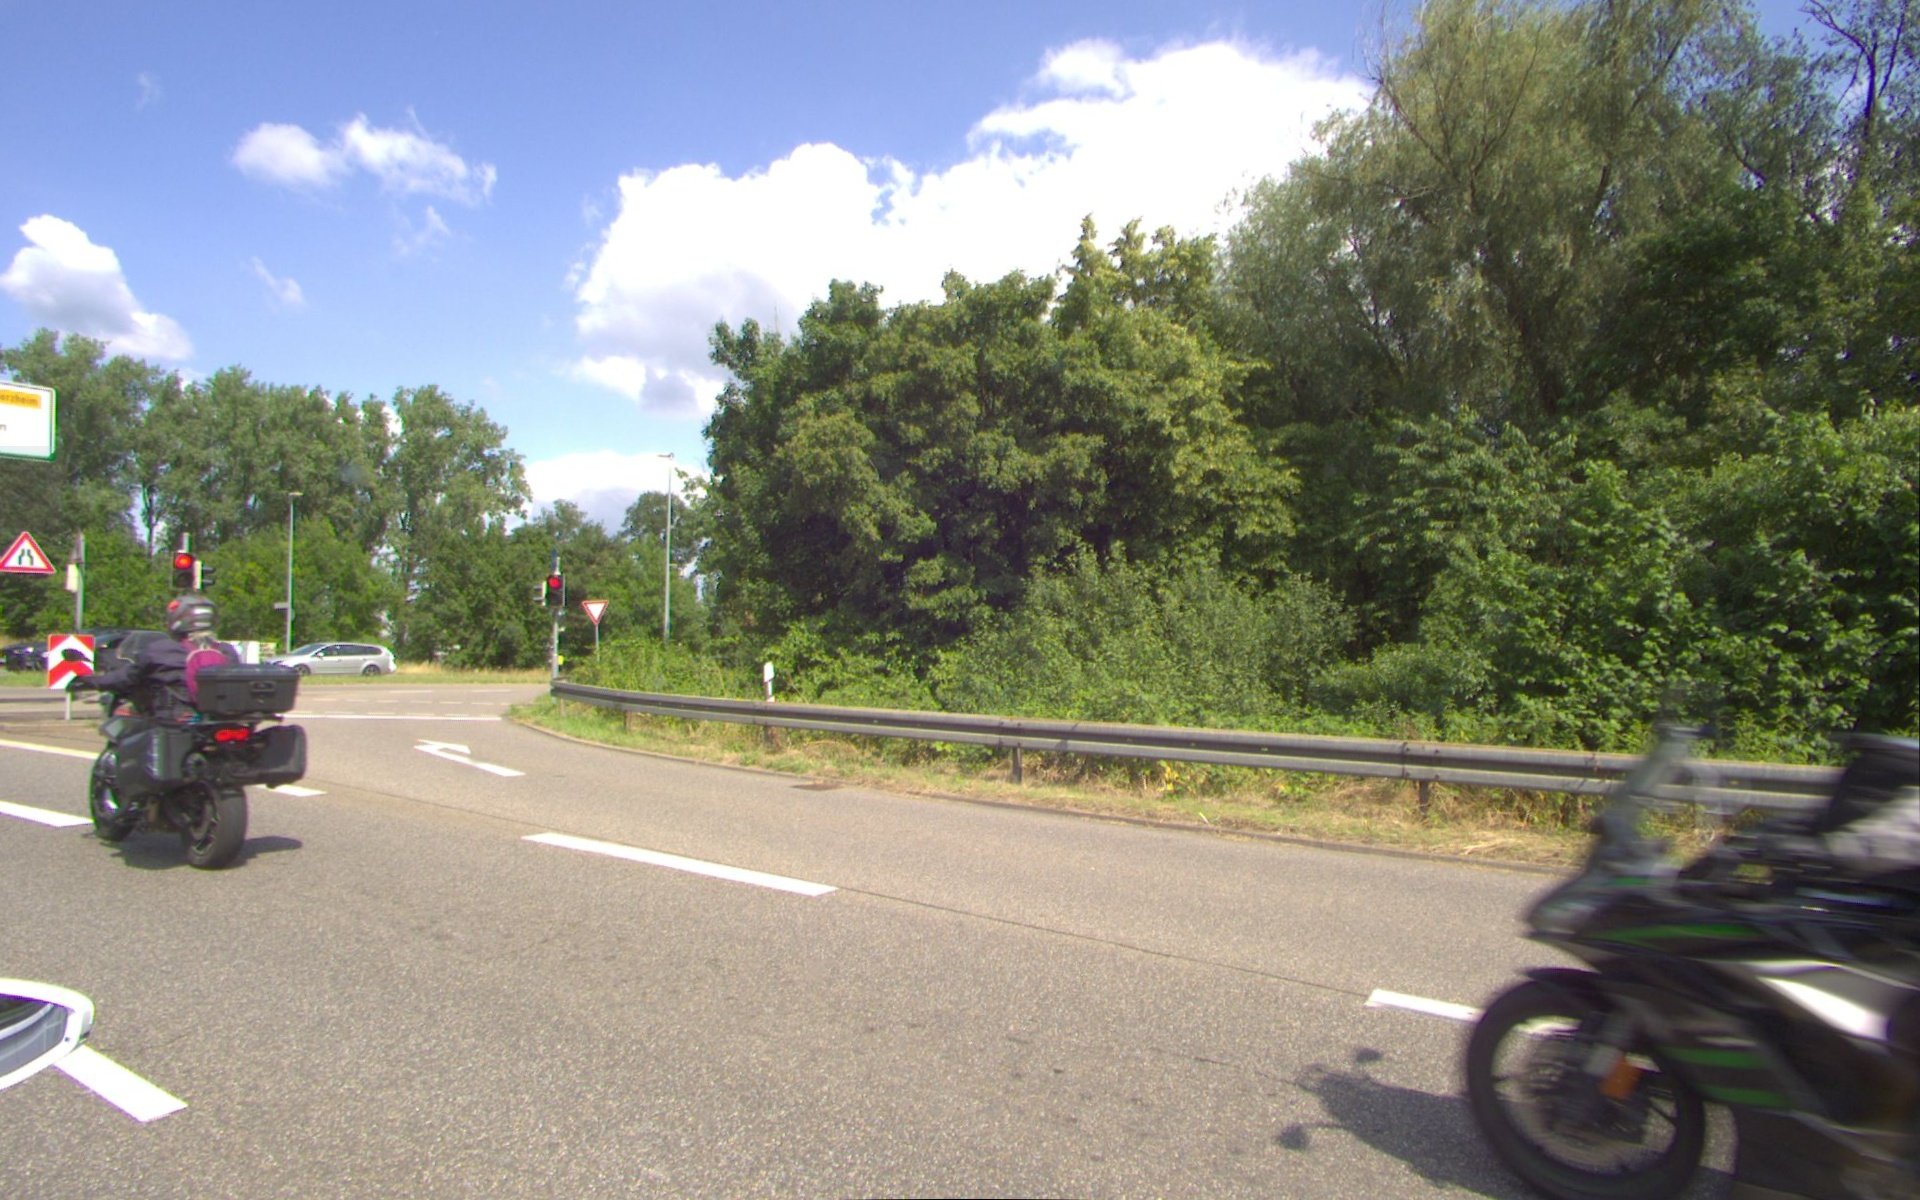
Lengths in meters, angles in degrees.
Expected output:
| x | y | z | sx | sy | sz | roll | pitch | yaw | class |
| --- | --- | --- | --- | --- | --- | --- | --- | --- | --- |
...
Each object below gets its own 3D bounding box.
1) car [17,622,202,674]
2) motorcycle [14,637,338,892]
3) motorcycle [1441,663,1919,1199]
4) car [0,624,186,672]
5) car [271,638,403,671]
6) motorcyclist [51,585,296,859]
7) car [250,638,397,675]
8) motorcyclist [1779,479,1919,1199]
| x | y | z | sx | sy | sz | roll | pitch | yaw | class |
| --- | --- | --- | --- | --- | --- | --- | --- | --- | --- |
| -27.553 | 1.558 | 32.590 | 1.711 | 1.564 | 4.264 | 0 | -3 | 31 | car |
| -5.217 | 0.958 | 6.618 | 2.336 | 1.401 | 0.935 | -1 | -2 | 32 | motorcycle |
| 2.314 | 0.872 | 2.028 | 2.336 | 1.406 | 0.864 | 0 | -2 | 32 | motorcycle |
| -30.425 | 1.689 | 35.157 | 1.711 | 1.564 | 4.842 | 0 | -3 | 31 | car |
| -26.273 | 2.282 | 42.391 | 1.710 | 1.297 | 4.491 | 0 | -3 | 29 | car |
| -5.163 | 0.744 | 6.595 | 1.068 | 1.611 | 0.935 | 0 | -2 | 32 | motorcyclist |
| -24.202 | 2.147 | 38.267 | 1.710 | 1.337 | 4.471 | 0 | -3 | 29 | car |
| 2.309 | 0.651 | 2.038 | 0.881 | 1.722 | 0.864 | 0 | -2 | 32 | motorcyclist |
